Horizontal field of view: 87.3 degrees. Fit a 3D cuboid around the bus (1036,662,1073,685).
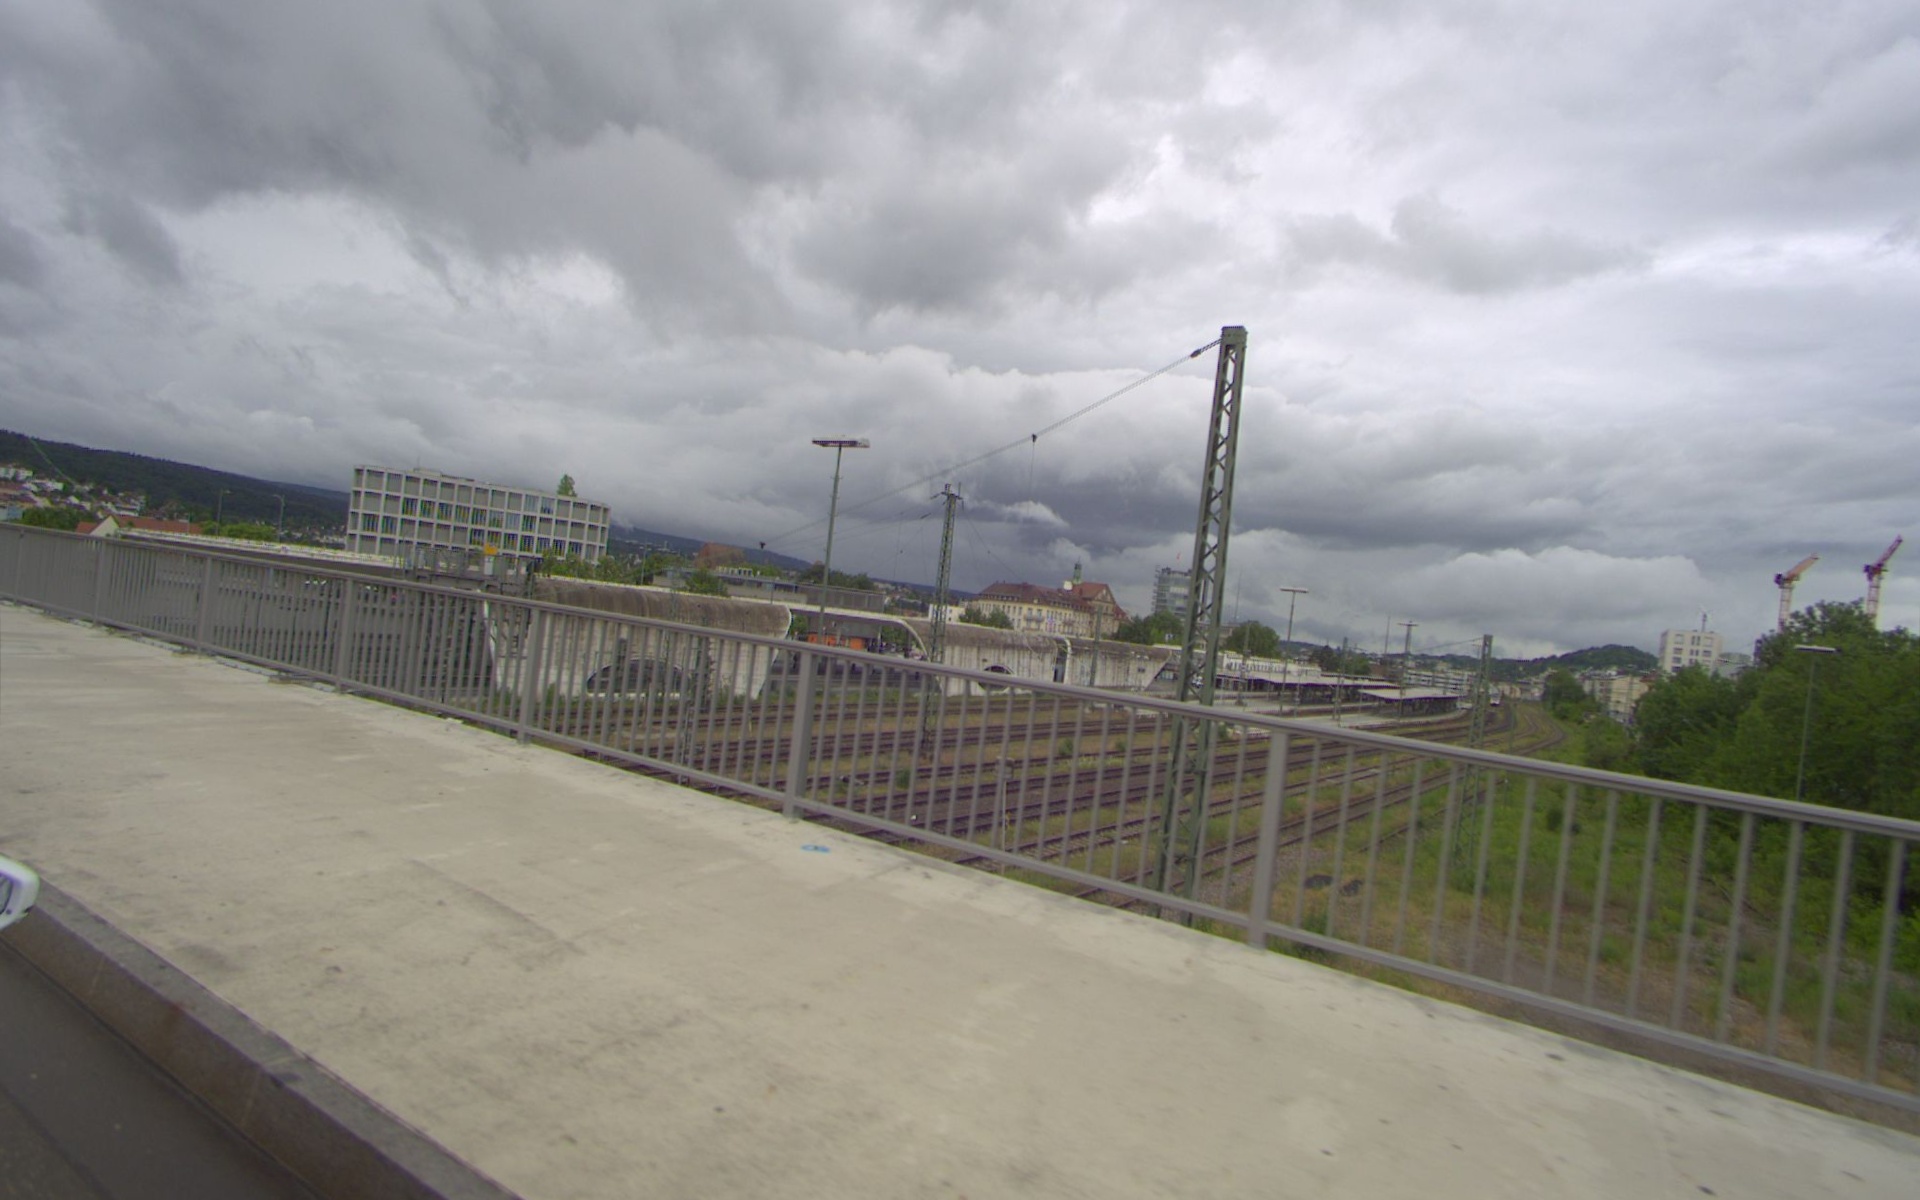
[{"bbox_3d":[15.229,11.841,161.782,2.567,3.246,6.981,6,-2,33],"label":"bus"}]
